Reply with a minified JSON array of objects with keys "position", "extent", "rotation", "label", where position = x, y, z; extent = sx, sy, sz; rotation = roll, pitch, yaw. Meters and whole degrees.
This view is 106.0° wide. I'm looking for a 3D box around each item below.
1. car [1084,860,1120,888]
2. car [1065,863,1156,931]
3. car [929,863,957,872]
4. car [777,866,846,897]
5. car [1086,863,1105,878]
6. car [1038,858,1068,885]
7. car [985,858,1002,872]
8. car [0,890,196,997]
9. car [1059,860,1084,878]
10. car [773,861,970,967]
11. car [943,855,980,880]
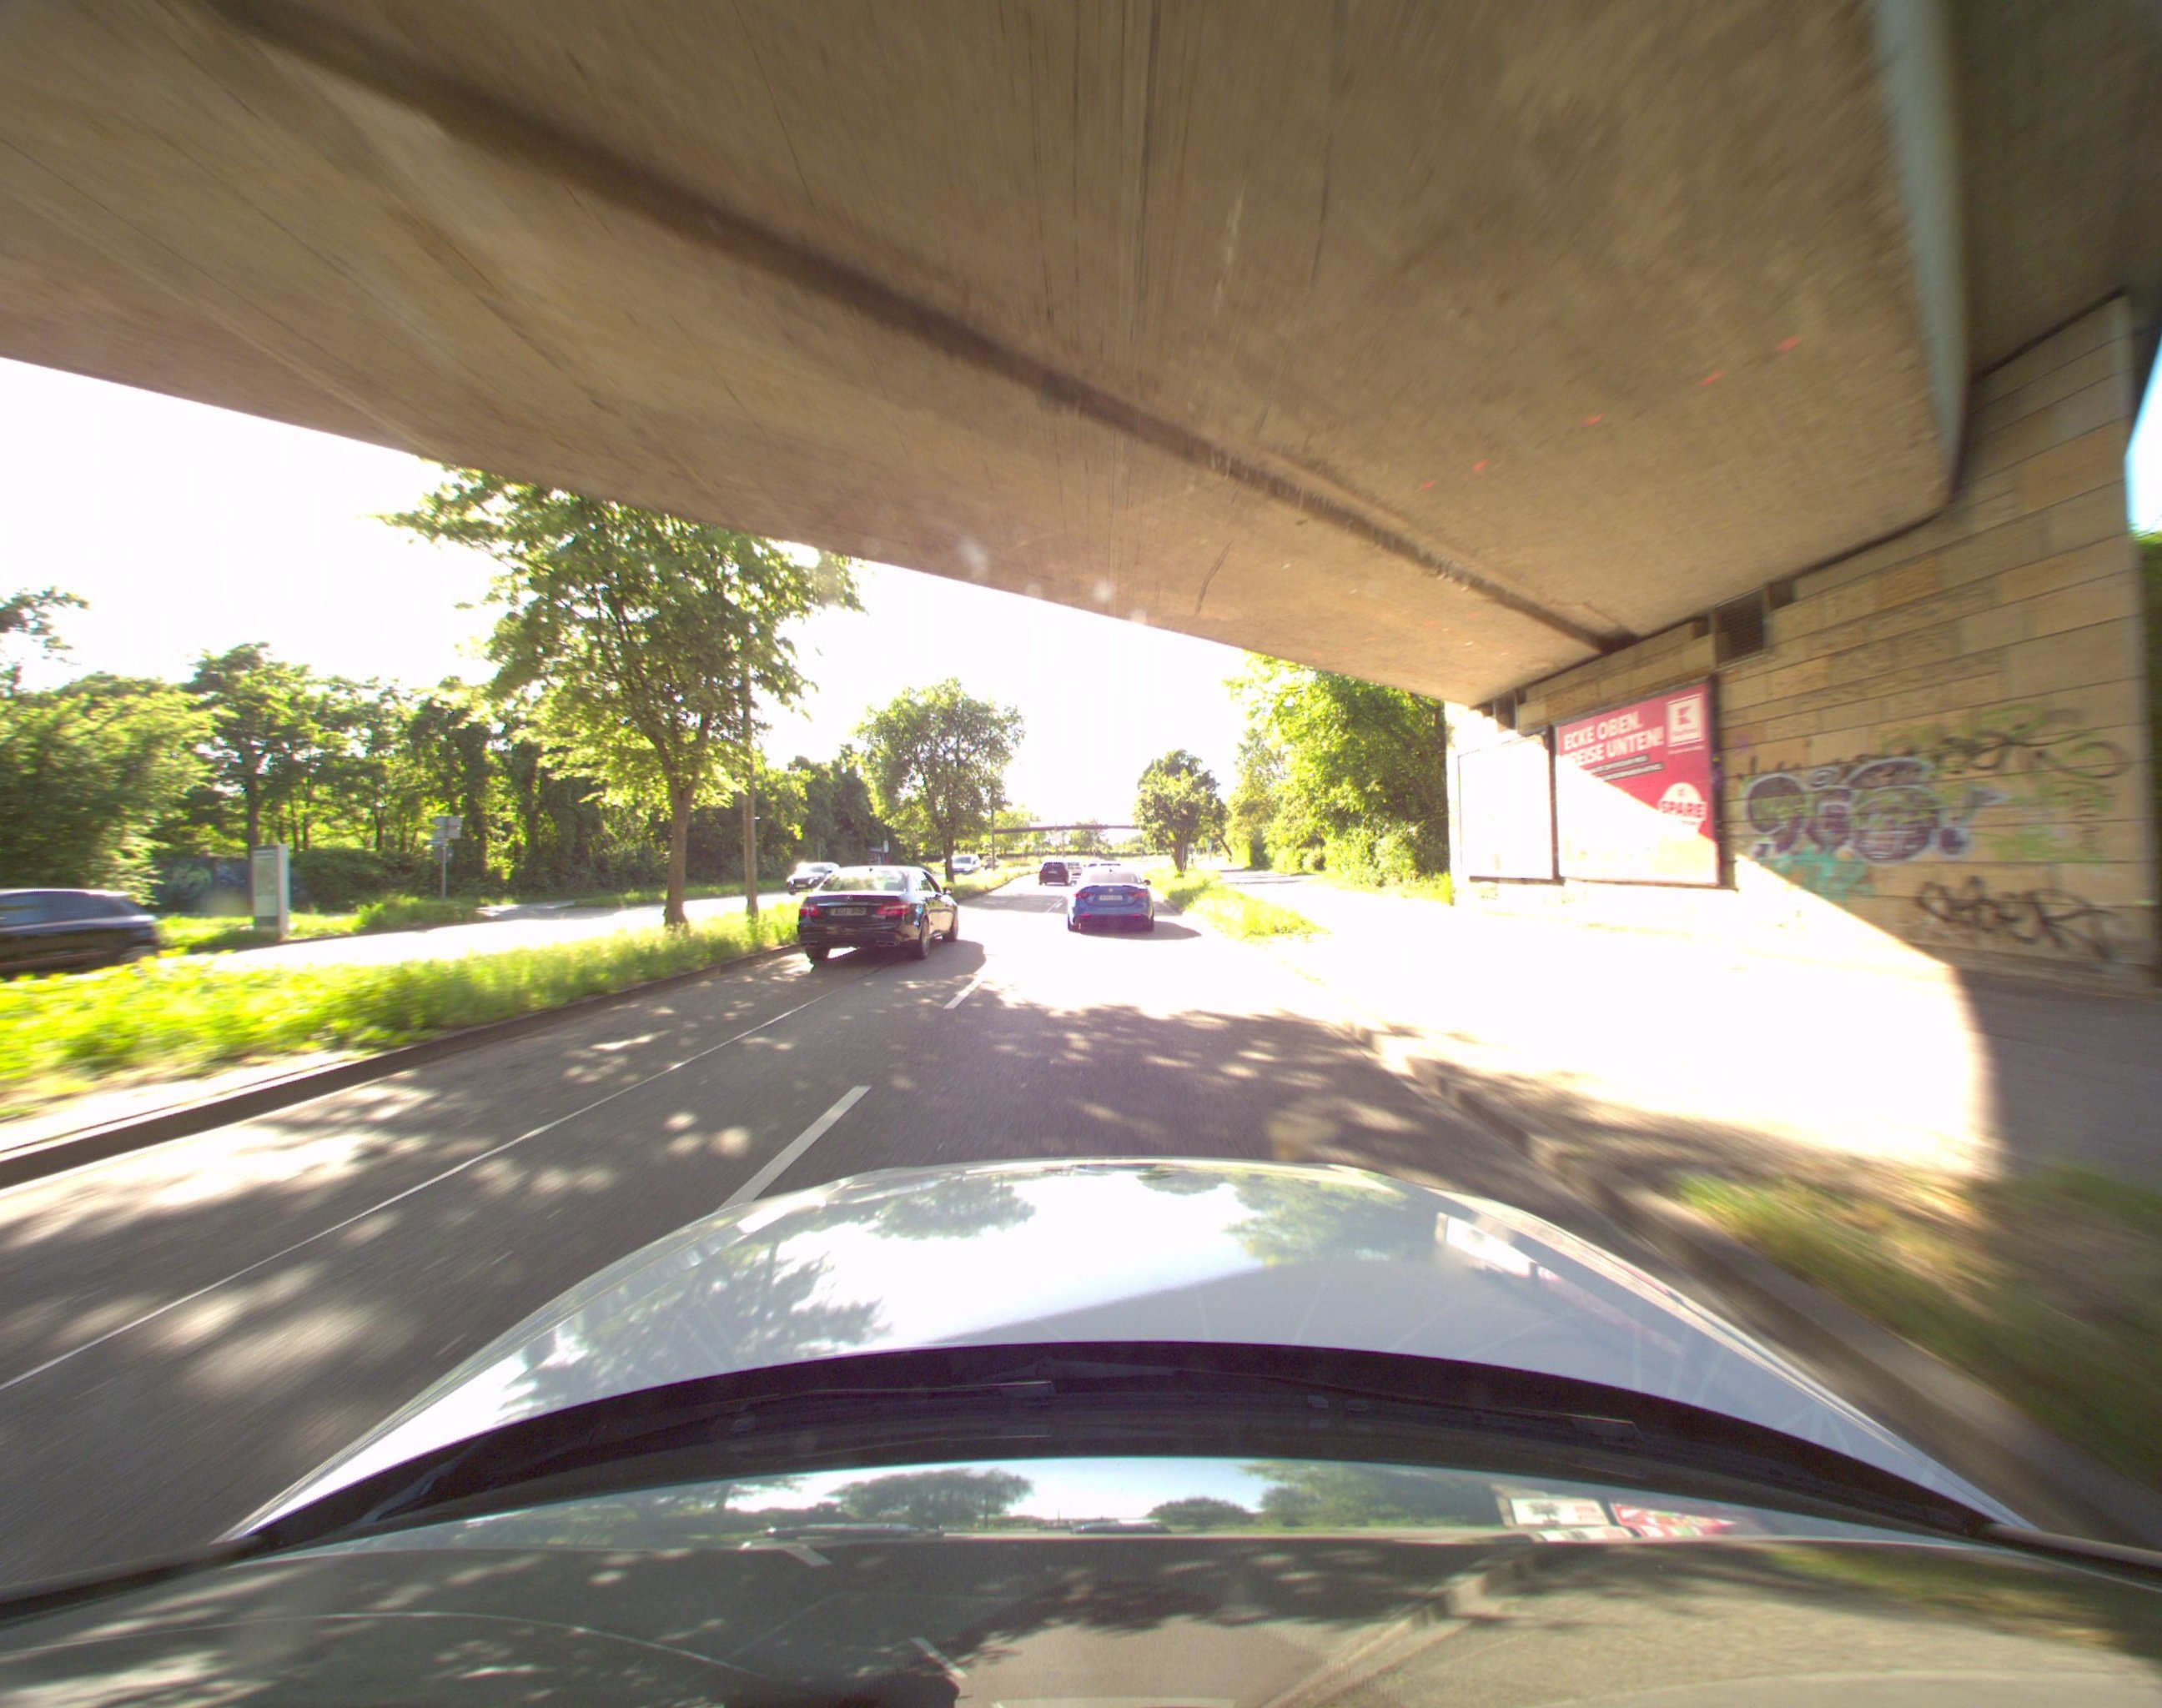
[{"position":[1.140,1.073,44.282],"extent":[1.876,1.454,4.527],"rotation":[0,-1,2],"label":"car"},{"position":[0.678,0.921,19.013],"extent":[1.876,1.406,4.225],"rotation":[0,-1,2],"label":"car"},{"position":[-24.141,2.348,142.506],"extent":[4.270,1.650,2.010],"rotation":[0,-1,21],"label":"car"},{"position":[-14.361,1.438,43.669],"extent":[1.974,1.552,4.595],"rotation":[0,-1,2],"label":"car"},{"position":[1.518,1.711,84.797],"extent":[1.876,1.454,4.527],"rotation":[0,-1,2],"label":"car"},{"position":[-1.652,1.043,48.853],"extent":[1.703,1.598,4.221],"rotation":[0,-1,-1],"label":"car"},{"position":[-12.373,1.600,115.595],"extent":[1.988,2.014,4.578],"rotation":[0,-1,-2],"label":"car"},{"position":[-16.392,1.361,12.366],"extent":[1.836,1.461,3.640],"rotation":[-2,-1,1],"label":"car"},{"position":[-0.781,1.251,67.269],"extent":[1.876,1.454,4.527],"rotation":[0,-1,2],"label":"car"},{"position":[-3.349,0.891,14.134],"extent":[1.951,1.483,4.920],"rotation":[-1,-1,2],"label":"car"},{"position":[-9.545,1.082,65.442],"extent":[1.986,1.929,5.247],"rotation":[-1,-1,2],"label":"car"}]
